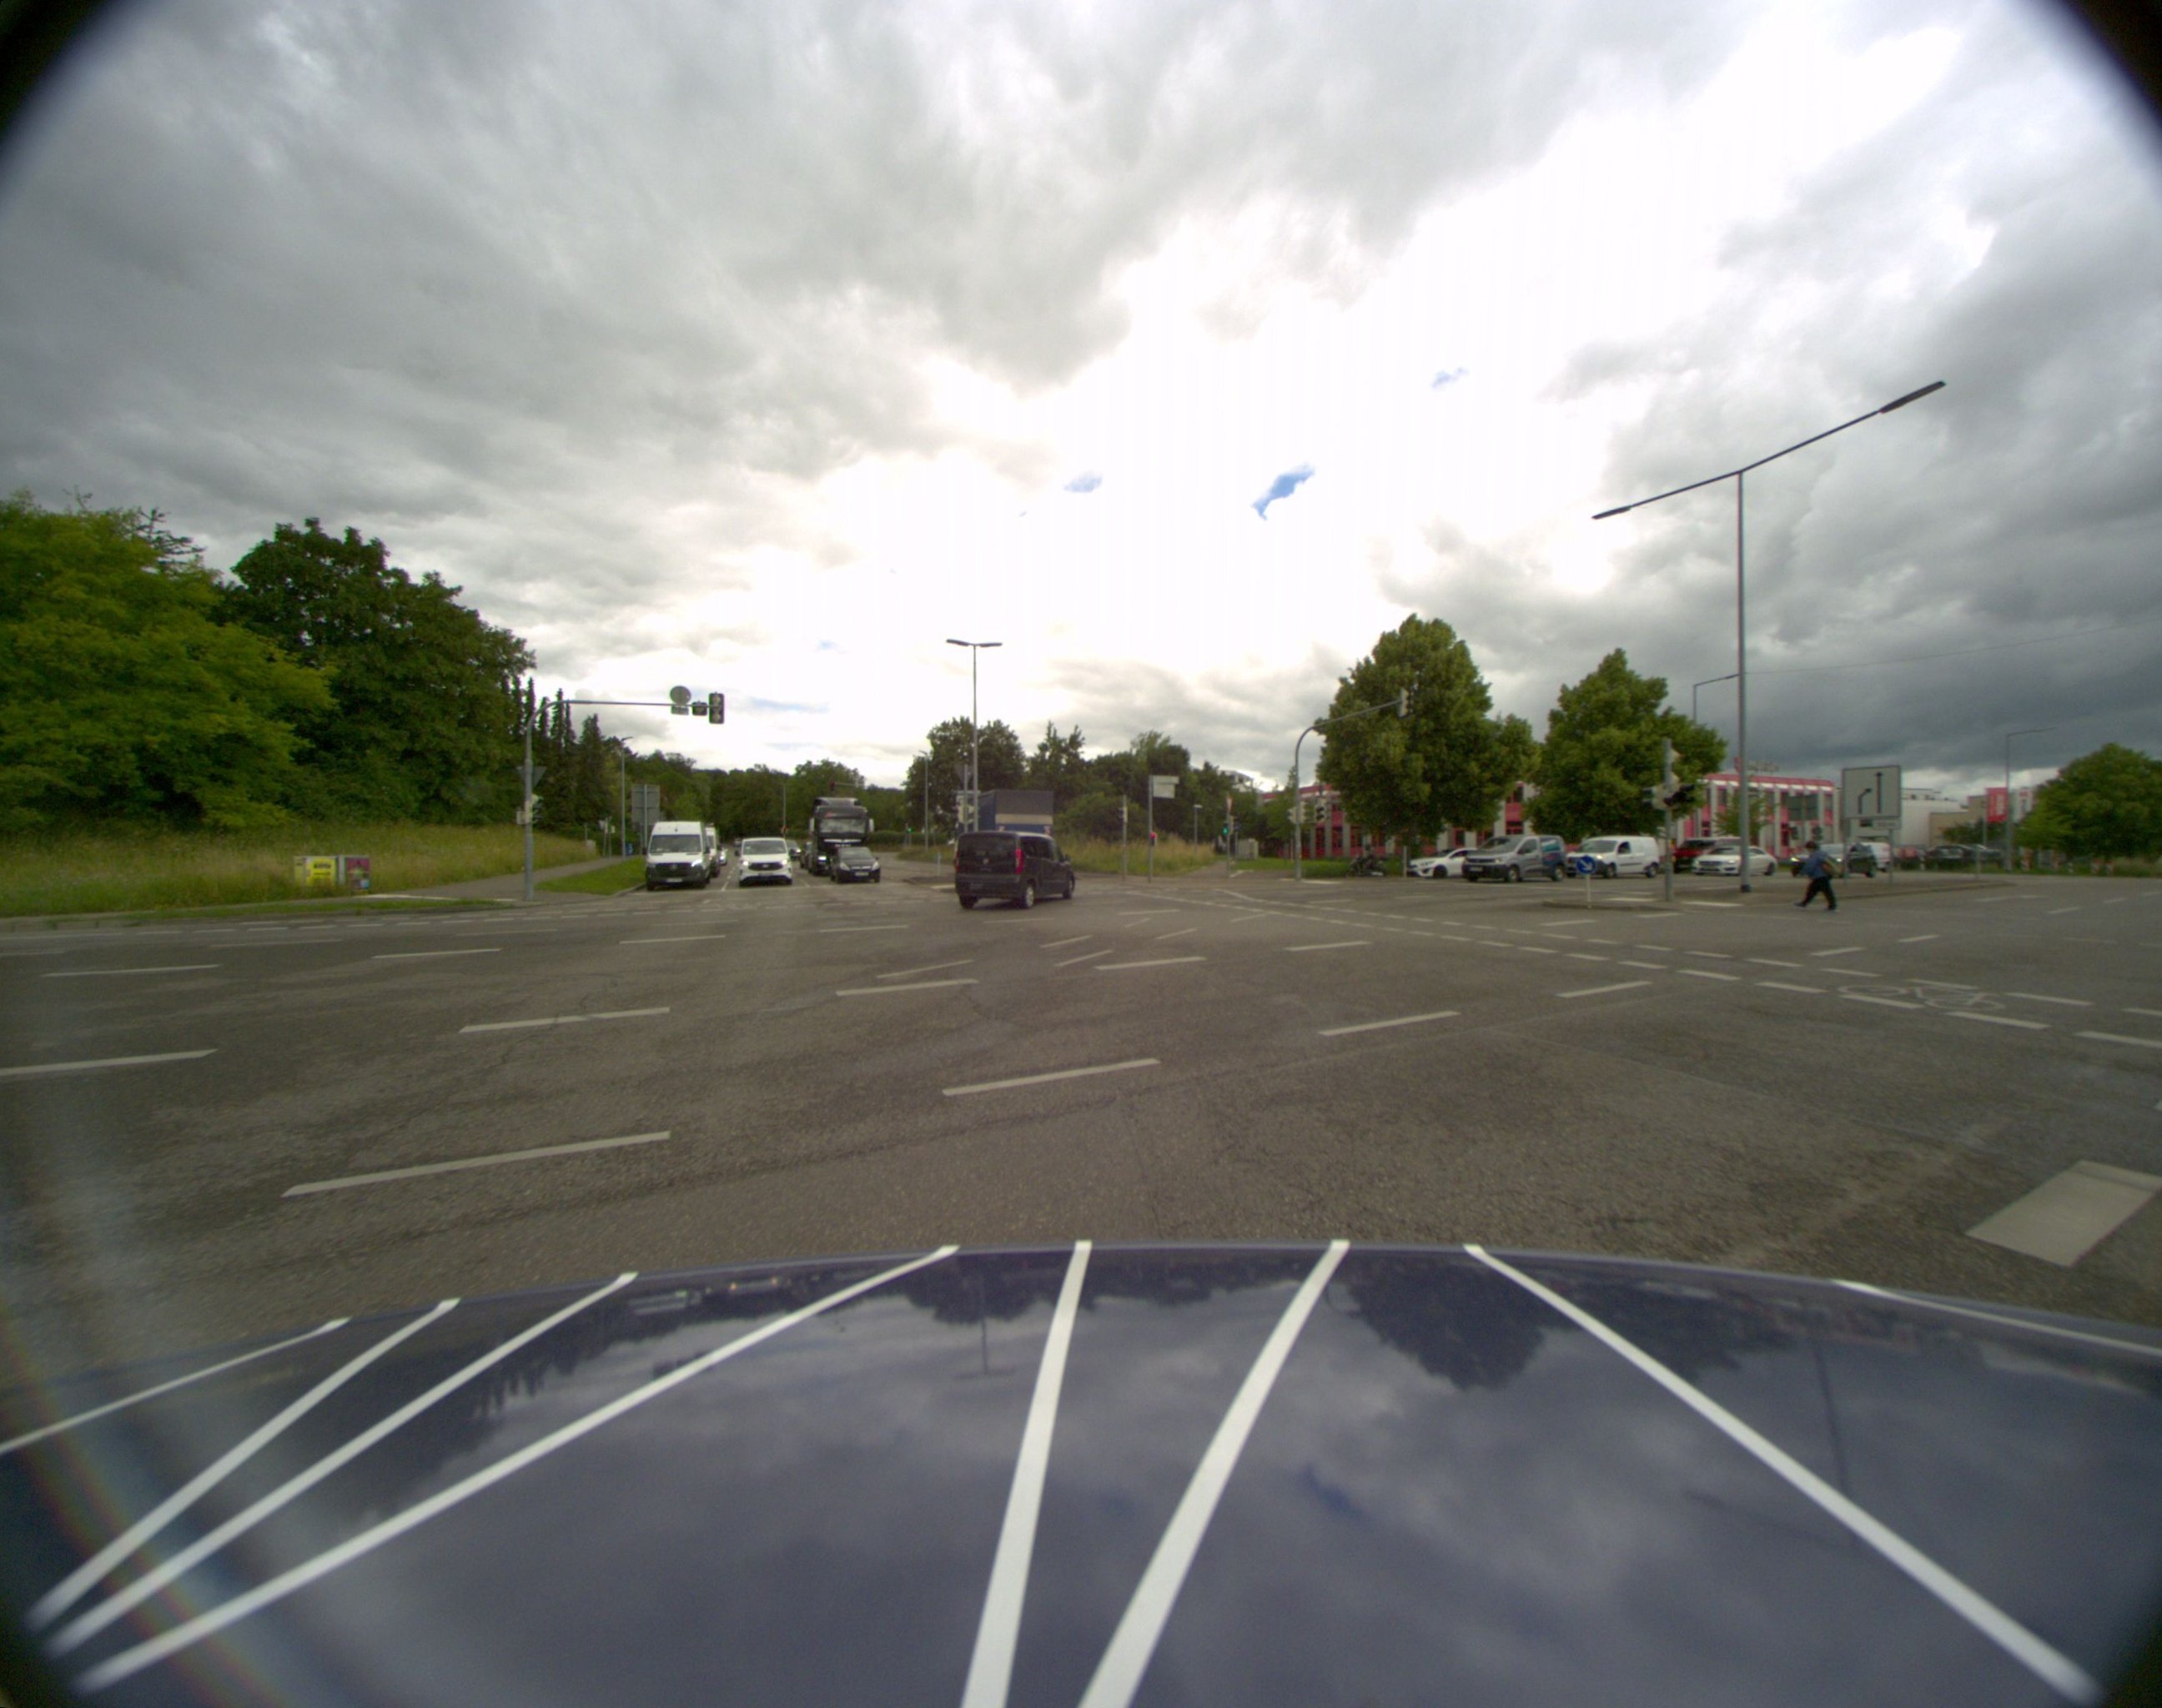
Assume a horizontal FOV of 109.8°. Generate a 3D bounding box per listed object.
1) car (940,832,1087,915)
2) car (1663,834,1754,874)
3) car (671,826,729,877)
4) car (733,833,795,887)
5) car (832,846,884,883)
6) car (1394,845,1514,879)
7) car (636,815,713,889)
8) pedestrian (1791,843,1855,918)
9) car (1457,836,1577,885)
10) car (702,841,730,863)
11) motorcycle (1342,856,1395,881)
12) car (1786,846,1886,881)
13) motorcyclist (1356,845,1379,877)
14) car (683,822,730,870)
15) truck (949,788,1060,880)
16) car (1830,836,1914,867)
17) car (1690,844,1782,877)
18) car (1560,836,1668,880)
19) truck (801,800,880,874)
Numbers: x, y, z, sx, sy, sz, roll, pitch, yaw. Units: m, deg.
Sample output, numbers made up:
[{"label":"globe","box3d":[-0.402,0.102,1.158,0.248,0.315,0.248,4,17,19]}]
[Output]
[{"label":"car","box3d":[-1.555,0.394,19.672,1.996,1.866,4.897,0,1,18]},{"label":"car","box3d":[33.966,-0.003,41.126,4.461,1.894,2.179,3,0,-28]},{"label":"car","box3d":[-19.382,-0.207,38.896,2.230,2.373,5.948,-2,2,-23]},{"label":"car","box3d":[-13.163,0.167,31.447,2.123,1.979,4.977,-3,2,-24]},{"label":"car","box3d":[-9.399,0.389,31.866,1.638,1.434,3.858,-1,1,-23]},{"label":"car","box3d":[16.541,0.364,33.819,4.513,1.411,1.835,-1,-1,-8]},{"label":"car","box3d":[-15.996,-0.154,30.216,2.231,2.644,5.947,-2,2,-24]},{"label":"pedestrian","box3d":[15.505,0.542,15.889,0.671,1.521,0.714,-1,2,-22]},{"label":"car","box3d":[16.518,0.195,28.770,4.228,1.770,1.810,-1,2,-26]},{"label":"car","box3d":[-25.282,-0.150,52.663,1.655,1.448,3.857,-1,1,-26]},{"label":"motorcycle","box3d":[12.647,0.613,33.431,2.066,1.084,0.760,0,0,8]},{"label":"car","box3d":[33.749,0.443,33.972,4.229,1.333,1.810,3,0,-26]},{"label":"motorcyclist","box3d":[12.604,0.314,33.430,0.816,1.413,0.760,0,0,8]},{"label":"car","box3d":[-22.789,-0.548,46.467,2.231,2.705,6.671,-2,2,-24]},{"label":"truck","box3d":[-3.806,-0.888,35.503,2.791,3.782,8.371,-1,1,-23]},{"label":"car","box3d":[50.955,-0.184,48.929,5.243,1.895,1.947,-1,1,-23]},{"label":"car","box3d":[30.902,0.315,35.838,4.229,1.333,1.810,3,0,-27]},{"label":"car","box3d":[22.776,0.167,32.435,4.704,1.782,1.810,1,1,-29]},{"label":"truck","box3d":[-12.474,-0.889,39.096,3.078,3.498,5.947,-2,2,-24]}]
